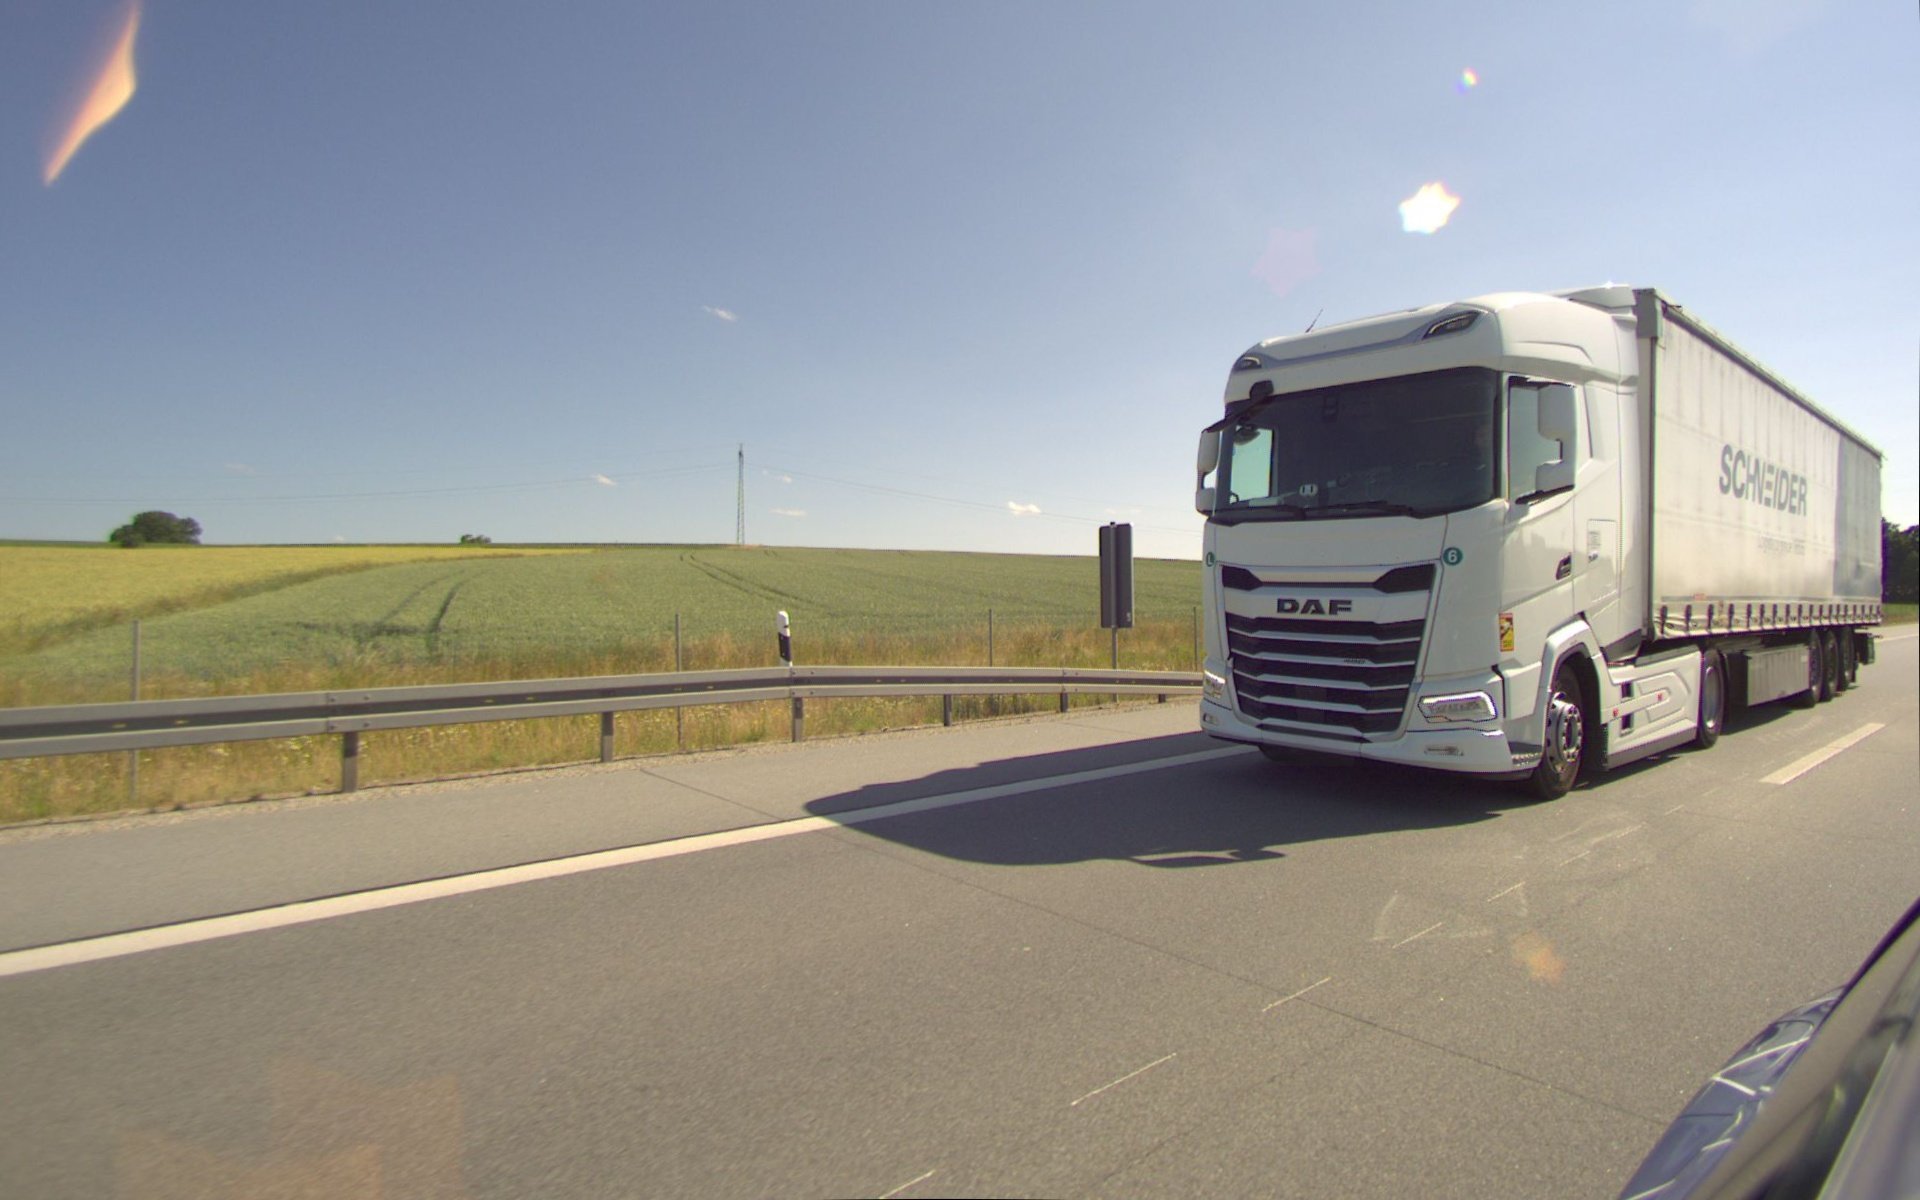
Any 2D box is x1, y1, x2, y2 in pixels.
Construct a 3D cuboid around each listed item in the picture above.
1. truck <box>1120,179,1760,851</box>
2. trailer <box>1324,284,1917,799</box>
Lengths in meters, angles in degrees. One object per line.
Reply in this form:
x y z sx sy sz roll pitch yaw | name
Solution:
4.650 -0.532 9.285 6.080 4.065 3.088 0 0 -41 | truck
10.722 -0.556 14.744 15.189 4.348 3.182 0 1 -41 | trailer
